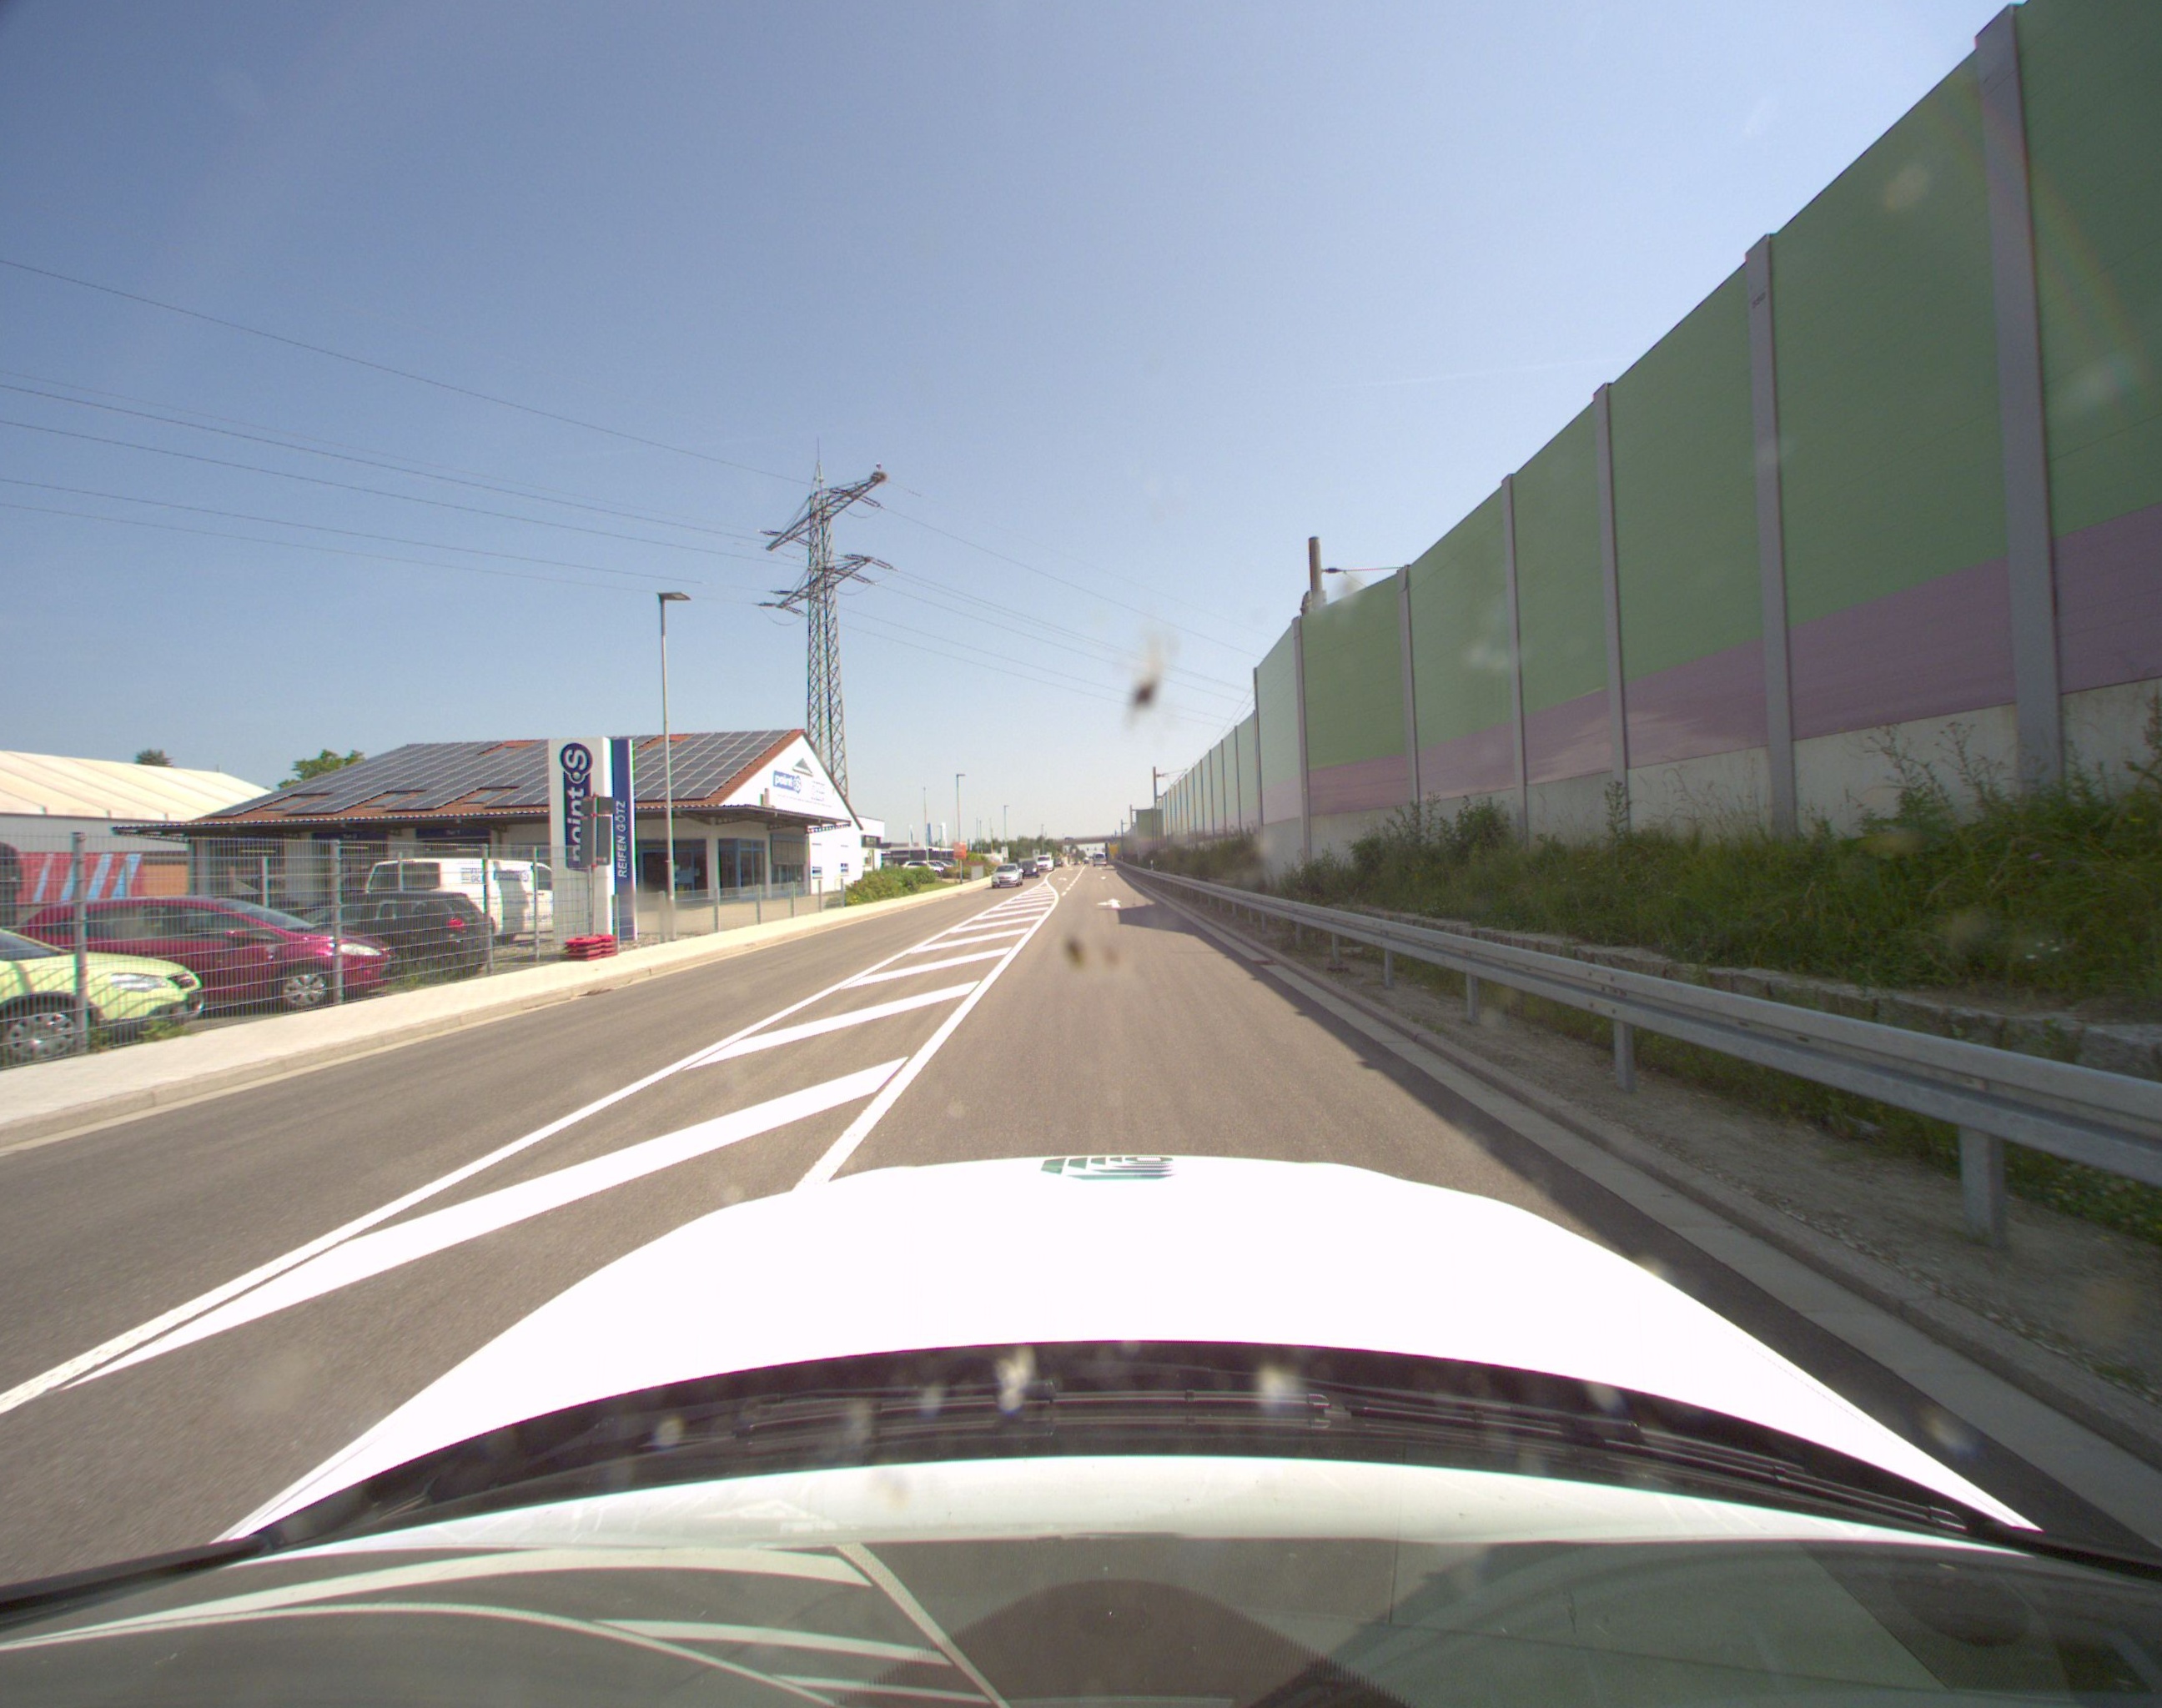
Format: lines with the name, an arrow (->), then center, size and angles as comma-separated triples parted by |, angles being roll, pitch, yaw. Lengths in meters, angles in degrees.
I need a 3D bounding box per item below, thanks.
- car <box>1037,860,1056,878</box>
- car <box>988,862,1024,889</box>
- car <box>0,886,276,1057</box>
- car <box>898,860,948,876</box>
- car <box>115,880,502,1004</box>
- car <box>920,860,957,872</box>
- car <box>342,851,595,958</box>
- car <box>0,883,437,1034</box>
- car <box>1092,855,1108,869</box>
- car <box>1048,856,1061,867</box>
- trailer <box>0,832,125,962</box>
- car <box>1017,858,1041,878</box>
car -> -3.959, 1.733, 93.110 | 1.988, 1.874, 5.165 | -3, -1, -2
car -> -4.665, 1.306, 51.344 | 1.758, 1.466, 4.258 | -4, 0, 0
car -> -10.949, 1.167, 7.959 | 4.111, 1.493, 1.725 | -2, 0, -35
car -> -14.616, 1.323, 75.496 | 4.211, 1.456, 1.763 | 0, 0, -1
car -> -11.722, 1.252, 12.766 | 4.007, 1.493, 1.729 | -2, 0, -25
car -> -14.771, 1.241, 84.494 | 3.499, 1.254, 1.504 | 0, 0, -1
car -> -13.467, 1.029, 18.372 | 1.986, 2.014, 4.682 | -3, -1, 2
car -> -11.090, 1.222, 10.615 | 4.014, 1.493, 1.726 | -2, 0, -32
car -> 2.617, 1.097, 110.657 | 1.985, 1.757, 4.002 | -2, 0, 2
car -> -3.760, 1.036, 115.727 | 1.665, 1.423, 4.000 | -4, 0, 0
trailer -> -24.853, 0.970, 17.642 | 2.155, 2.849, 5.124 | -1, -1, 1
car -> -4.545, 1.195, 71.702 | 1.663, 1.600, 3.973 | -4, 0, 1
